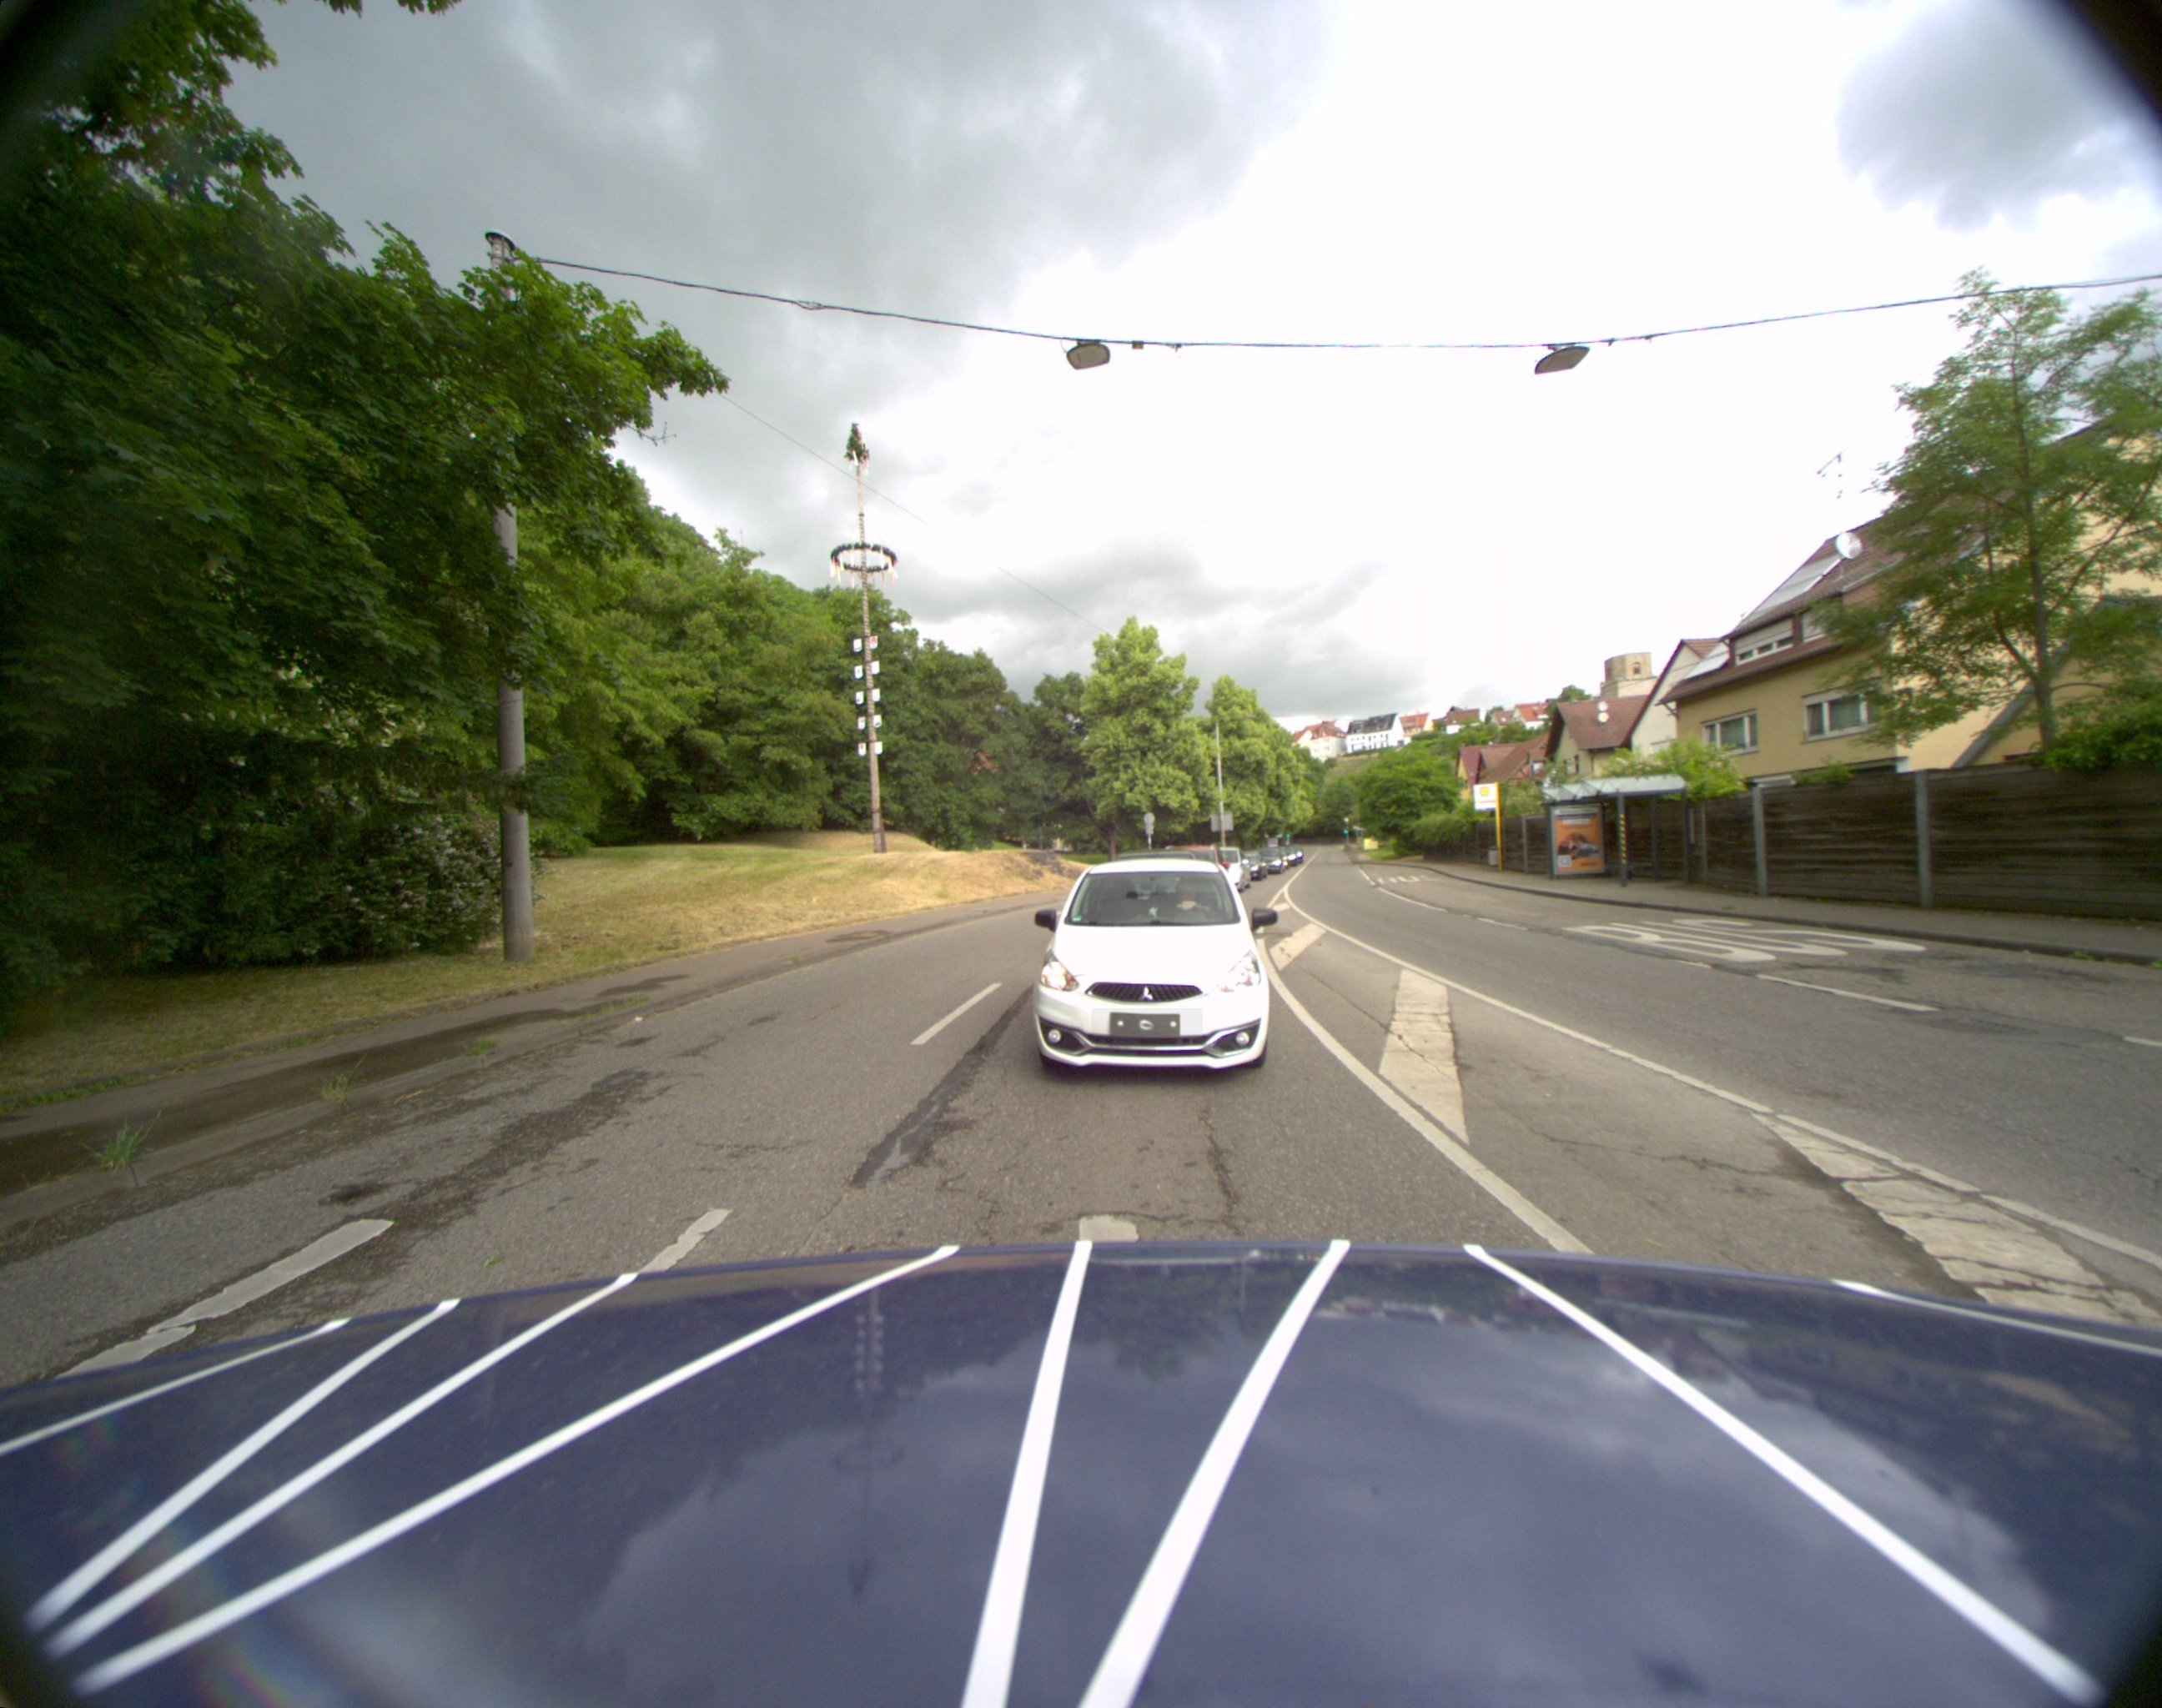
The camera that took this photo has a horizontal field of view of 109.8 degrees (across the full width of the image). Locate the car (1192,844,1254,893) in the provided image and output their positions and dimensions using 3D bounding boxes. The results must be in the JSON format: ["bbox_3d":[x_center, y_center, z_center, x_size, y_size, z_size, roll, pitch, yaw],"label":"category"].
[{"bbox_3d":[5.169,0.461,27.335,1.781,1.560,4.004,-2,1,16],"label":"car"}]

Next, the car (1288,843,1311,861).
[{"bbox_3d":[17.122,-0.175,59.499,1.417,1.242,3.300,-2,1,21],"label":"car"}]

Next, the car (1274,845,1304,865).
[{"bbox_3d":[14.629,0.048,53.354,1.642,1.262,3.630,-2,1,21],"label":"car"}]

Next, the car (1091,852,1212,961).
[{"bbox_3d":[1.301,0.775,13.226,1.729,1.512,4.002,-2,1,7],"label":"car"}]

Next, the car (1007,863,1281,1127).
[{"bbox_3d":[0.609,0.906,6.666,1.627,1.499,4.001,-2,1,7],"label":"car"}]

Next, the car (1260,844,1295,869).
[{"bbox_3d":[12.489,0.110,48.070,1.704,1.438,3.872,-2,1,21],"label":"car"}]

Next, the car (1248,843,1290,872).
[{"bbox_3d":[10.373,0.177,41.713,1.694,1.403,3.987,-2,1,21],"label":"car"}]

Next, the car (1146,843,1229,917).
[{"bbox_3d":[2.828,0.583,19.426,1.673,1.632,4.104,-2,1,13],"label":"car"}]

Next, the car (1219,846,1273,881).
[{"bbox_3d":[7.787,0.396,35.620,1.851,1.449,4.005,-2,1,21],"label":"car"}]
